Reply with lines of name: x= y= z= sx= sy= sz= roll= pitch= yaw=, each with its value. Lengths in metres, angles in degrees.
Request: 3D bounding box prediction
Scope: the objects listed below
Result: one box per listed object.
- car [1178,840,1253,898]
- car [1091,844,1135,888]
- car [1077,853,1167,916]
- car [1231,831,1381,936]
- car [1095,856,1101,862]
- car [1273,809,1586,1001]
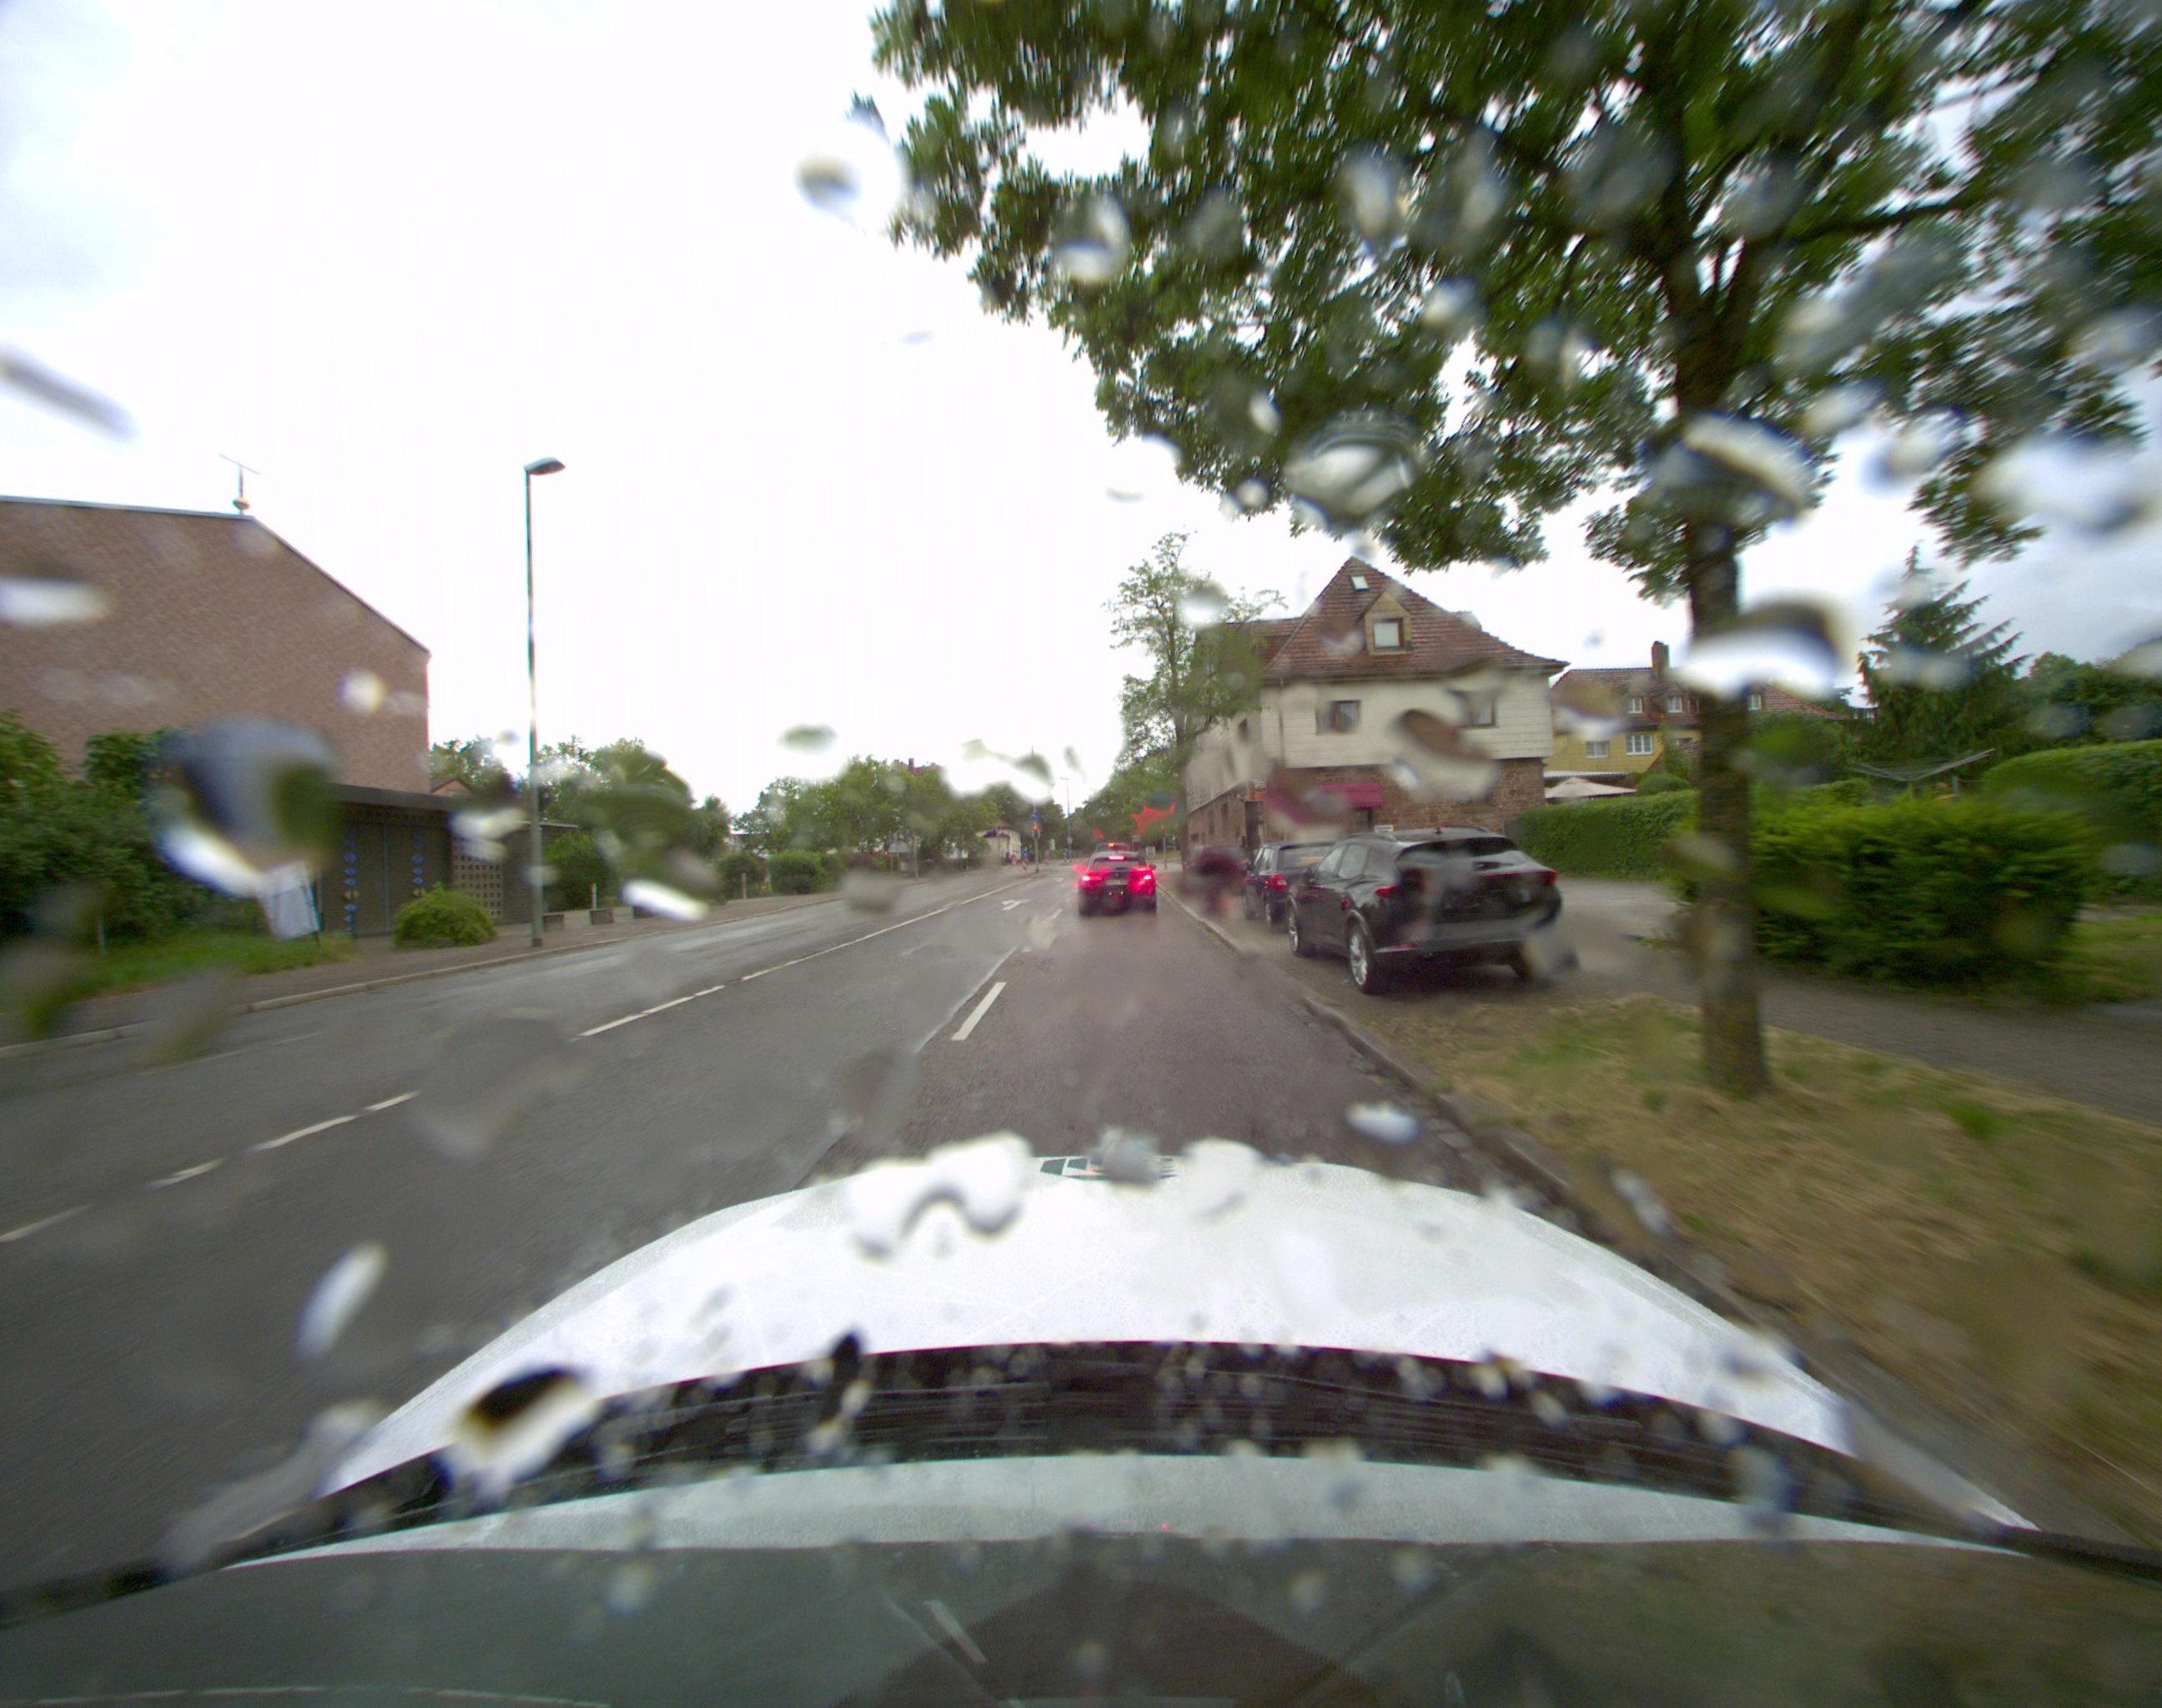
car: x=3.966 y=0.408 z=24.515 sx=1.579 sy=1.490 sz=3.627 roll=-5 pitch=0 yaw=0
car: x=1.374 y=0.494 z=36.216 sx=1.778 sy=1.817 sz=4.000 roll=-1 pitch=0 yaw=1
car: x=0.953 y=0.716 z=21.033 sx=2.057 sy=1.446 sz=4.482 roll=-1 pitch=0 yaw=0
car: x=3.796 y=0.448 z=14.379 sx=1.598 sy=1.472 sz=3.858 roll=-5 pitch=0 yaw=2
car: x=4.382 y=1.249 z=206.285 sx=1.459 sy=1.398 sz=3.323 roll=-1 pitch=0 yaw=2
car: x=3.449 y=0.436 z=9.011 sx=1.708 sy=1.498 sz=4.185 roll=-4 pitch=0 yaw=2
